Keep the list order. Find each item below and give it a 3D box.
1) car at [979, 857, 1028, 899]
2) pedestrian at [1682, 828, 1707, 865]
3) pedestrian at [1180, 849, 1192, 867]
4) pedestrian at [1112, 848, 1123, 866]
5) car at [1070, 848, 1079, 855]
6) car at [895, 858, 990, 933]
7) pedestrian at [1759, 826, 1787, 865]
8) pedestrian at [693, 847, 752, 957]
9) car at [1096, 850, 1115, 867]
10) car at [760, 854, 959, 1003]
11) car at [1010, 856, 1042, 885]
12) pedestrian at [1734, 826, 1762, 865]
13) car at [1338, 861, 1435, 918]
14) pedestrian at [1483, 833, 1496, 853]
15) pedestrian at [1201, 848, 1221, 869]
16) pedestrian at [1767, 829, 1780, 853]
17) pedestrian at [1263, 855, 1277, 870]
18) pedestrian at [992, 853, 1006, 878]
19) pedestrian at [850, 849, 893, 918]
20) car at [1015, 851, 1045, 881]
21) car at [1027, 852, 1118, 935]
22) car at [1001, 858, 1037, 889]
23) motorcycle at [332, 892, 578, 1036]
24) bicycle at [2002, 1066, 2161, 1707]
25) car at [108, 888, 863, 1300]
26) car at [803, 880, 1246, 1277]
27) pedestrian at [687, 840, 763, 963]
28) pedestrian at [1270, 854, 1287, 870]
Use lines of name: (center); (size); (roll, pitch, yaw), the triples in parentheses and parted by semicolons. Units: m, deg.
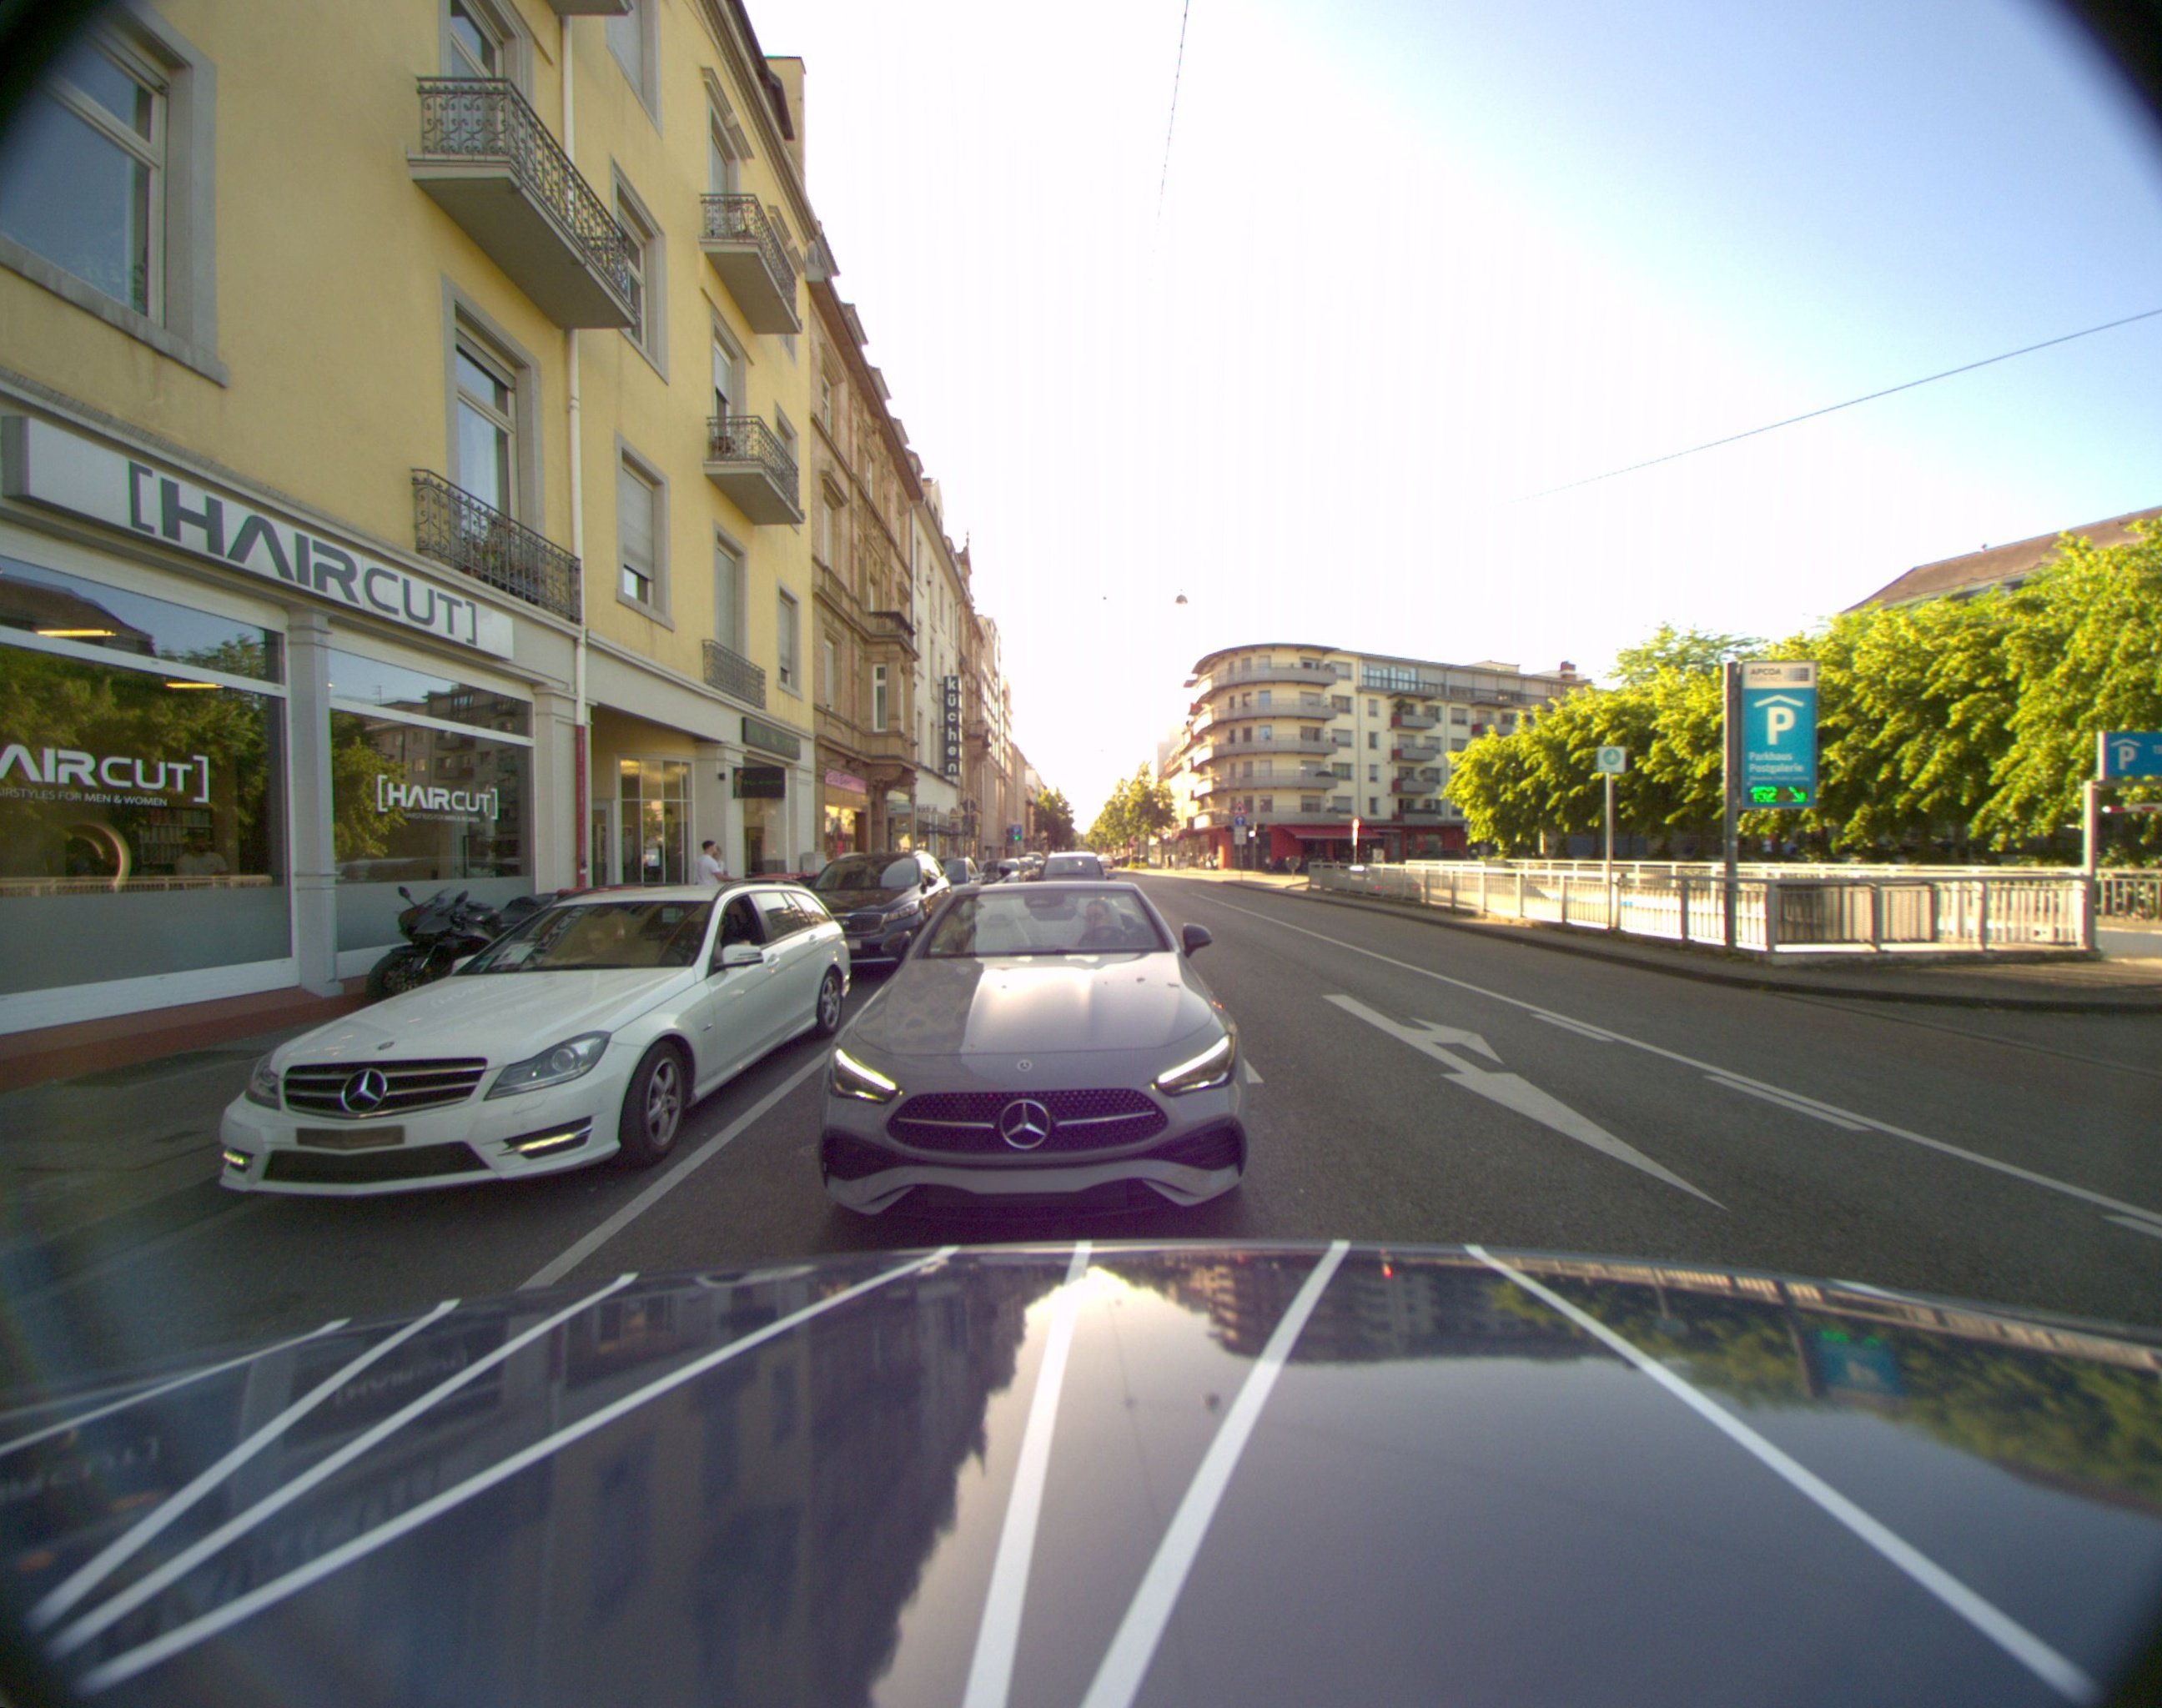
car: (-3.025, 0.904, 30.318); (1.695, 1.482, 3.796); (-2, 1, -3)
pedestrian: (31.806, -0.385, 39.401); (0.748, 1.832, 0.683); (-3, 1, -21)
pedestrian: (10.408, 0.369, 75.325); (1.060, 1.739, 0.962); (-2, 1, 1)
pedestrian: (4.785, 0.375, 99.500); (1.117, 2.328, 1.028); (-2, 1, -5)
car: (-1.417, -0.478, 154.840); (1.695, 1.437, 3.575); (-2, 1, -2)
car: (-3.181, 0.907, 17.995); (1.583, 1.514, 2.998); (-2, 1, 1)
pedestrian: (33.394, -0.427, 36.673); (0.748, 1.832, 0.683); (-2, 1, -13)
pedestrian: (-6.148, 0.797, 13.066); (0.630, 1.826, 0.770); (-2, 1, -7)
car: (2.687, 0.469, 83.192); (1.836, 1.831, 3.886); (1, 1, -2)
car: (-3.012, 0.892, 11.344); (1.806, 1.680, 4.408); (-2, 1, -3)
car: (-2.941, 0.867, 40.955); (1.461, 1.391, 3.362); (-2, 1, -1)
pedestrian: (32.206, -0.392, 36.705); (0.748, 1.852, 0.683); (-2, 1, -13)
car: (10.467, 1.160, 26.373); (1.675, 1.522, 4.247); (-1, 3, 1)
pedestrian: (38.368, -1.006, 71.385); (0.747, 1.832, 0.684); (-2, 1, 1)
pedestrian: (10.847, 0.350, 63.413); (1.140, 1.656, 1.271); (-2, 1, -13)
pedestrian: (46.252, -0.871, 50.749); (0.494, 1.570, 0.493); (-3, 1, -24)
pedestrian: (14.924, 0.664, 60.044); (0.780, 1.191, 0.884); (-2, 1, -10)
pedestrian: (-5.790, 0.823, 53.919); (0.826, 1.750, 0.823); (-2, 1, -1)
pedestrian: (-5.431, 0.753, 19.740); (0.837, 1.709, 0.819); (-2, 1, -3)
car: (-3.151, 0.717, 47.553); (1.695, 1.670, 3.880); (-2, 1, -3)
car: (-0.244, 0.827, 18.537); (1.866, 1.658, 4.706); (-2, 1, -2)
car: (-2.953, 0.901, 36.687); (1.461, 1.310, 3.363); (-2, 1, -1)
motorcycle: (-6.255, 1.026, 7.795); (0.735, 1.124, 2.109); (2, 1, 1)
bicycle: (2.141, 1.040, 0.522); (0.629, 1.216, 2.000); (-2, 1, 2)
car: (-3.025, 1.075, 5.253); (1.672, 1.364, 4.377); (-2, 1, 1)
car: (-0.281, 1.000, 5.364); (1.769, 1.360, 4.471); (-2, 1, -2)
pedestrian: (-5.694, 0.732, 12.146); (0.975, 1.866, 0.534); (-3, 1, -30)
pedestrian: (15.431, 0.652, 59.386); (0.937, 1.191, 0.832); (-3, 1, -24)
